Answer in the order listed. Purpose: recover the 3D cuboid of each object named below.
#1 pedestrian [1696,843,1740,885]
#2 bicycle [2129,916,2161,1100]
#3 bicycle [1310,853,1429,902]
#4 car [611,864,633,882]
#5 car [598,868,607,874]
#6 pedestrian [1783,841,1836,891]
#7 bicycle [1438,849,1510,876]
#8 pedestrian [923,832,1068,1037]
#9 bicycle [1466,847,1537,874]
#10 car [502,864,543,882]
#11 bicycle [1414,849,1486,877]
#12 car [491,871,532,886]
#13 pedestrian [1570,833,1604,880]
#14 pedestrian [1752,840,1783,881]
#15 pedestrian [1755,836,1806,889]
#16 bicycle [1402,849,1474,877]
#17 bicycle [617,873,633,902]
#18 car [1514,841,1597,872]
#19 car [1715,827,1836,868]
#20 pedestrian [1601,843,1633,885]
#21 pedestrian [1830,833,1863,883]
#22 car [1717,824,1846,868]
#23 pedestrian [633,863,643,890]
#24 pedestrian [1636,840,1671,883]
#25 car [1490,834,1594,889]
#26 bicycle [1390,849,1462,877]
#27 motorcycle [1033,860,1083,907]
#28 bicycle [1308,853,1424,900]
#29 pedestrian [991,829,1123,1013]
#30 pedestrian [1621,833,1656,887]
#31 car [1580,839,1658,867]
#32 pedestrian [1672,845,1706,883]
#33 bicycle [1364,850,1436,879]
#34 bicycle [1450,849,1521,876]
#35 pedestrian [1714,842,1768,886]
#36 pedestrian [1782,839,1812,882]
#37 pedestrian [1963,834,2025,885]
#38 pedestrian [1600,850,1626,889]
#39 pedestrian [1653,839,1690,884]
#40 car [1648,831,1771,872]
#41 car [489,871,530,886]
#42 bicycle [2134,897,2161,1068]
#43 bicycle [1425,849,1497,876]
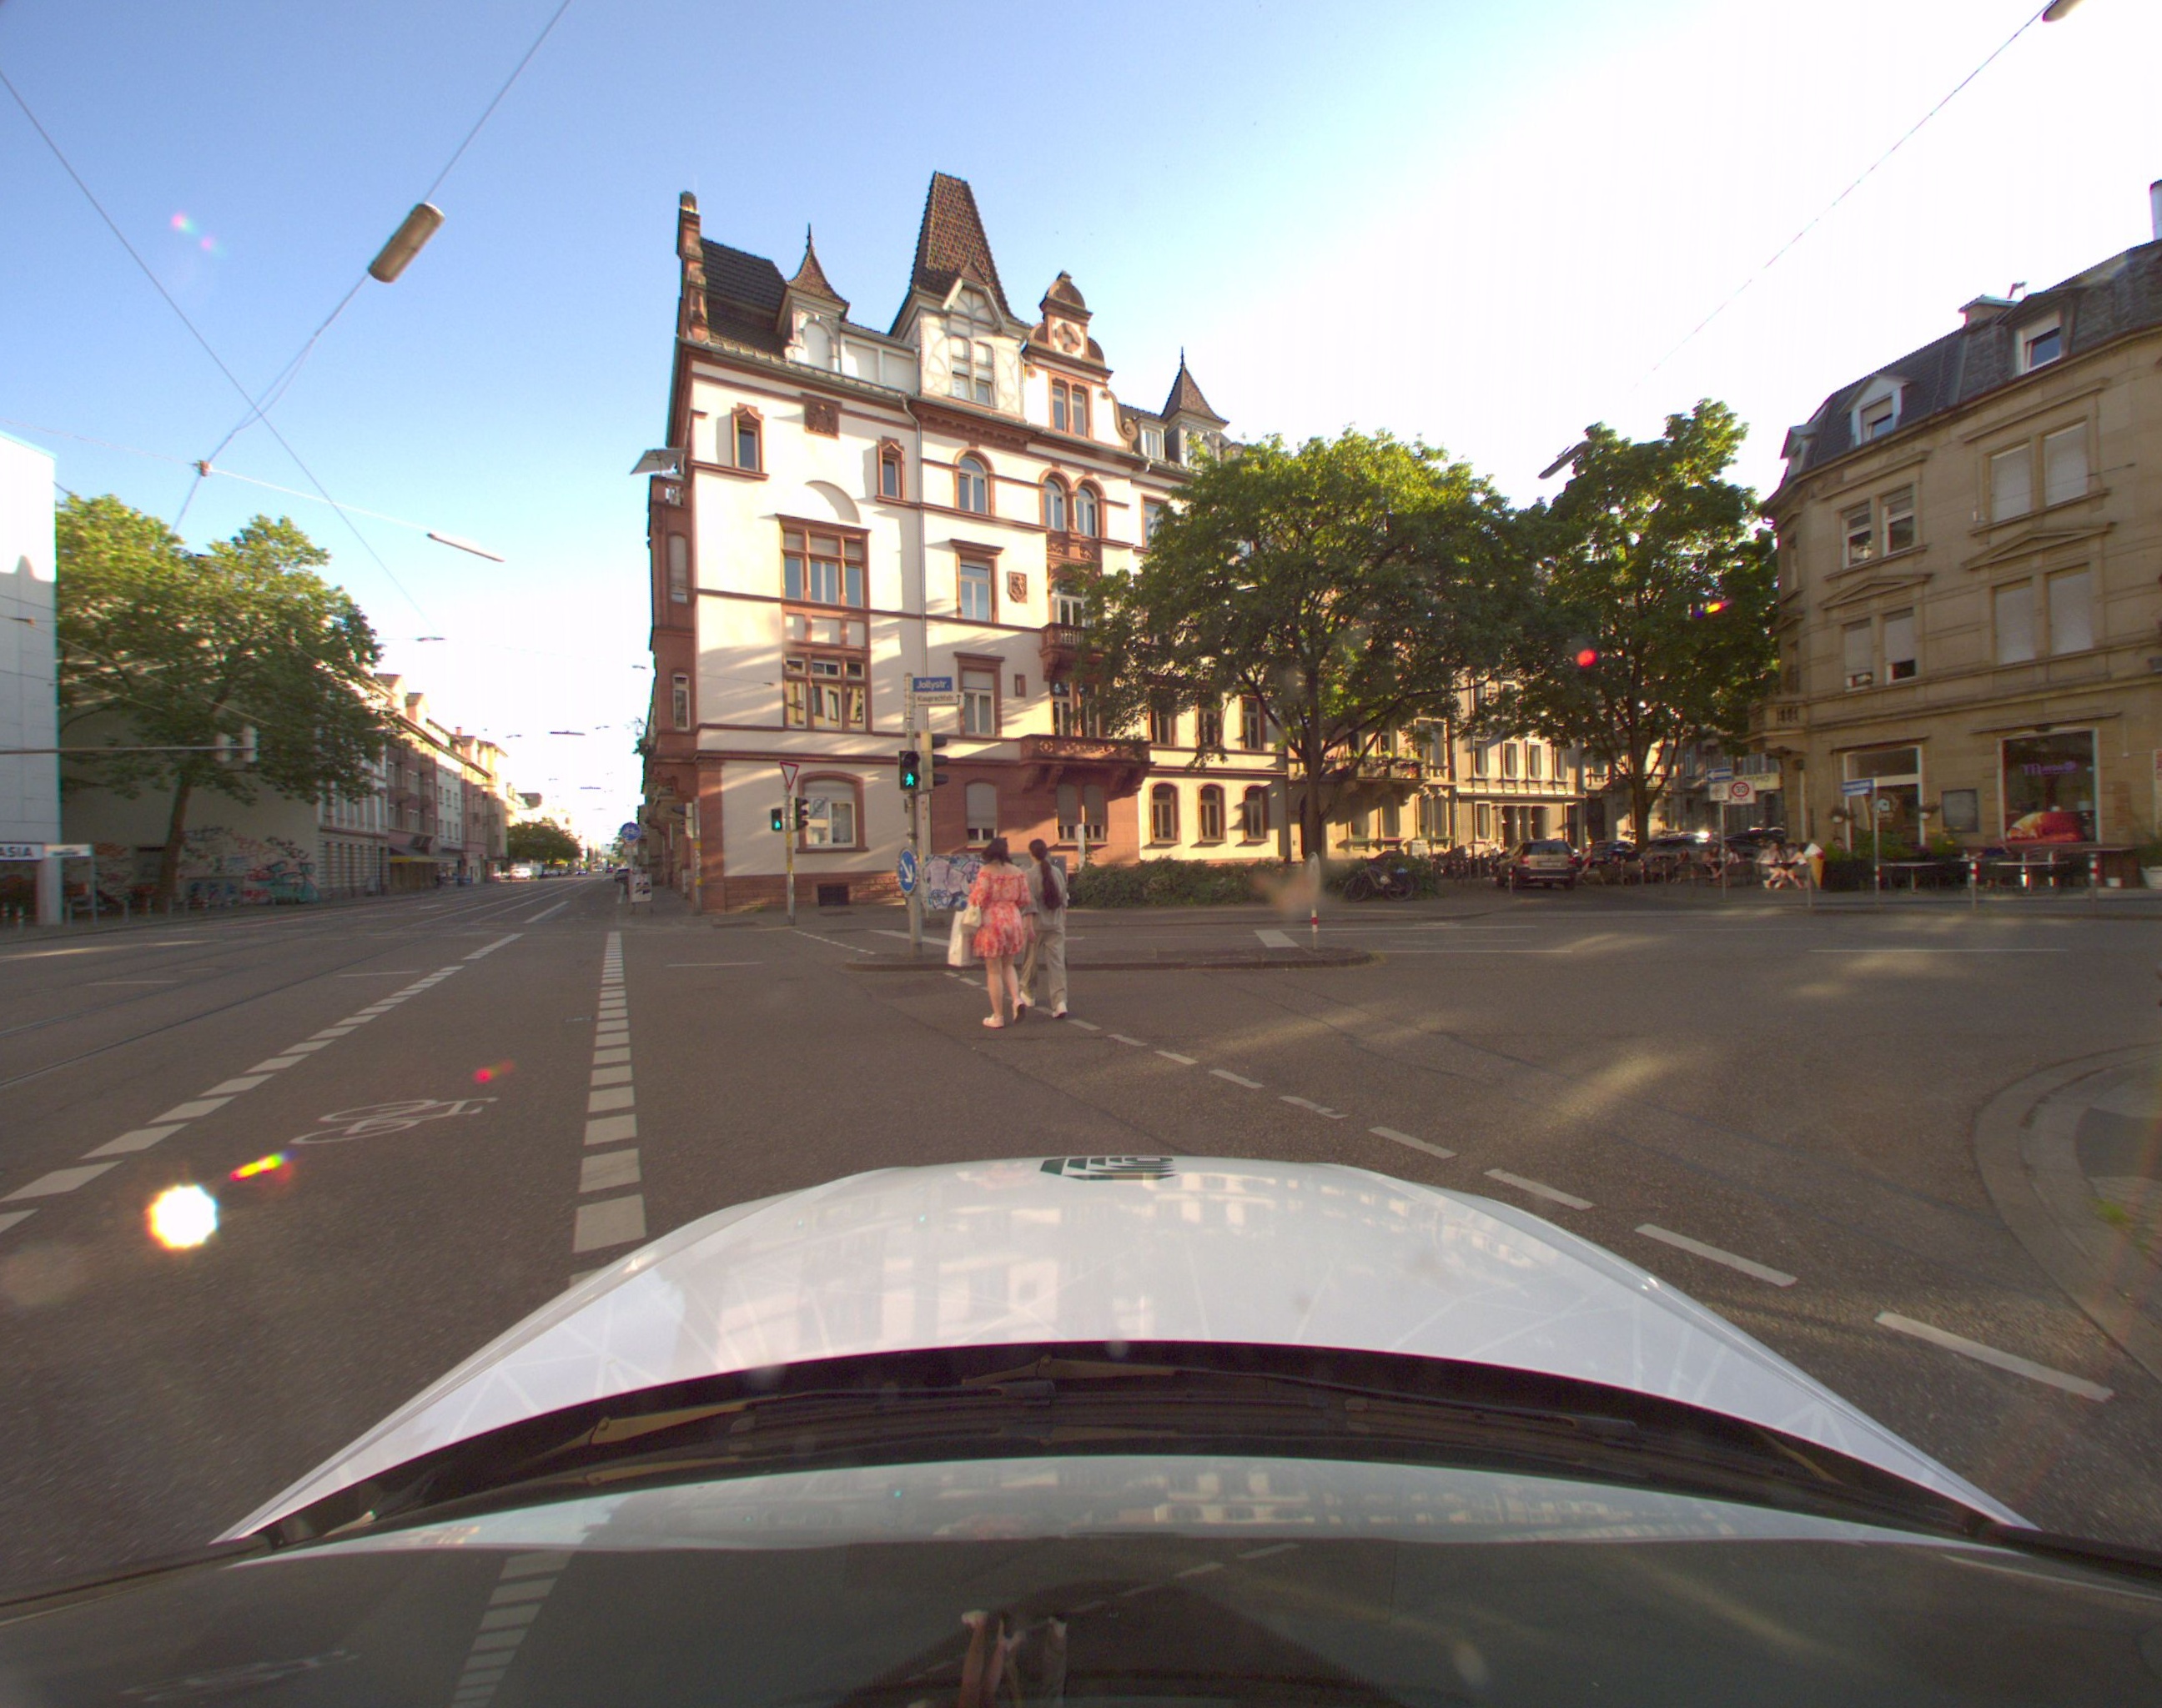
[{"bbox_3d":[19.479,0.300,24.915,0.743,1.248,0.707,-3,0,3],"label":"pedestrian"},{"bbox_3d":[6.608,0.875,4.370,0.737,1.027,0.994,-2,0,-16],"label":"bicycle"},{"bbox_3d":[7.699,0.627,21.823,2.931,1.196,0.549,-2,0,9],"label":"bicycle"},{"bbox_3d":[-53.781,2.250,95.468,2.004,2.013,3.966,-2,0,-26],"label":"car"},{"bbox_3d":[-128.731,4.604,218.892,2.007,1.692,3.960,-2,0,-32],"label":"car"},{"bbox_3d":[19.591,0.321,21.912,0.739,1.289,0.744,-2,0,-4],"label":"pedestrian"},{"bbox_3d":[18.149,0.408,37.707,0.754,1.180,3.107,-2,0,-29],"label":"bicycle"},{"bbox_3d":[-0.789,0.670,7.411,0.874,1.697,0.973,-1,0,-40],"label":"pedestrian"},{"bbox_3d":[19.905,0.317,38.649,0.754,1.180,3.107,-2,0,-29],"label":"bicycle"},{"bbox_3d":[-90.525,3.082,132.094,2.493,2.685,4.787,-2,0,34],"label":"car"},{"bbox_3d":[16.683,0.411,36.927,0.754,1.180,3.107,-2,0,-29],"label":"bicycle"},{"bbox_3d":[-88.379,3.762,126.453,4.768,2.013,2.503,-2,0,-28],"label":"car"},{"bbox_3d":[18.528,0.110,29.823,0.761,1.670,0.669,-2,-2,4],"label":"pedestrian"},{"bbox_3d":[21.221,0.195,25.195,0.506,1.248,0.482,-3,0,3],"label":"pedestrian"},{"bbox_3d":[19.519,0.233,22.745,0.724,1.411,0.755,-2,0,-6],"label":"pedestrian"},{"bbox_3d":[15.960,0.412,36.510,0.754,1.180,3.107,-2,0,-29],"label":"bicycle"},{"bbox_3d":[-20.099,1.438,35.867,0.521,1.214,1.988,-2,0,-31],"label":"bicycle"},{"bbox_3d":[23.724,0.121,40.717,3.762,1.376,1.911,-2,0,-29],"label":"car"},{"bbox_3d":[31.157,-0.287,36.708,3.948,1.684,2.013,-2,0,35],"label":"car"},{"bbox_3d":[18.895,0.352,28.721,0.758,1.412,0.671,-3,-2,20],"label":"pedestrian"},{"bbox_3d":[21.562,0.122,22.940,0.431,1.367,0.482,-3,0,-3],"label":"pedestrian"},{"bbox_3d":[29.593,-0.311,34.467,3.950,1.684,2.012,-2,0,45],"label":"car"},{"bbox_3d":[-30.584,1.529,56.221,0.494,1.811,0.622,-2,0,-25],"label":"pedestrian"},{"bbox_3d":[19.851,0.263,28.255,0.758,1.442,0.671,-3,-2,18],"label":"pedestrian"},{"bbox_3d":[15.483,0.227,27.605,1.980,1.684,4.014,-2,0,13],"label":"car"},{"bbox_3d":[15.263,0.417,36.134,0.754,1.180,3.107,-2,0,-29],"label":"bicycle"},{"bbox_3d":[-0.686,0.828,23.434,0.843,1.265,2.097,-2,0,-19],"label":"motorcycle"},{"bbox_3d":[7.801,0.621,22.411,2.931,1.196,0.549,-2,0,9],"label":"bicycle"},{"bbox_3d":[-0.249,0.620,8.185,0.874,1.697,0.973,-1,0,-40],"label":"pedestrian"},{"bbox_3d":[18.754,0.203,27.385,0.758,1.770,0.575,-3,-2,18],"label":"pedestrian"},{"bbox_3d":[28.445,-0.056,43.038,3.762,1.376,1.911,-2,0,-29],"label":"car"},{"bbox_3d":[20.512,0.342,27.480,0.670,1.216,0.671,-3,-2,16],"label":"pedestrian"},{"bbox_3d":[13.781,0.462,35.302,0.754,1.180,3.107,-2,0,-29],"label":"bicycle"},{"bbox_3d":[18.885,0.407,38.130,0.754,1.180,3.107,-2,0,-29],"label":"bicycle"},{"bbox_3d":[19.432,0.293,24.005,0.743,1.248,1.025,-3,0,3],"label":"pedestrian"},{"bbox_3d":[21.266,0.191,24.185,0.430,1.248,0.482,-3,0,3],"label":"pedestrian"},{"bbox_3d":[22.669,0.140,20.230,0.755,1.214,0.724,-2,0,-13],"label":"pedestrian"},{"bbox_3d":[18.324,0.531,28.072,0.566,1.320,0.507,-3,0,16],"label":"pedestrian"},{"bbox_3d":[19.635,0.257,27.108,0.758,1.442,0.671,-3,-2,18],"label":"pedestrian"},{"bbox_3d":[25.804,-0.079,33.606,3.787,1.562,1.814,-2,0,30],"label":"car"},{"bbox_3d":[-87.083,3.736,124.123,4.768,2.013,2.270,-2,0,-28],"label":"car"},{"bbox_3d":[7.523,0.798,4.824,1.458,1.094,0.428,-3,-4,36],"label":"bicycle"},{"bbox_3d":[17.386,0.409,37.338,0.754,1.180,3.107,-2,0,-29],"label":"bicycle"}]
